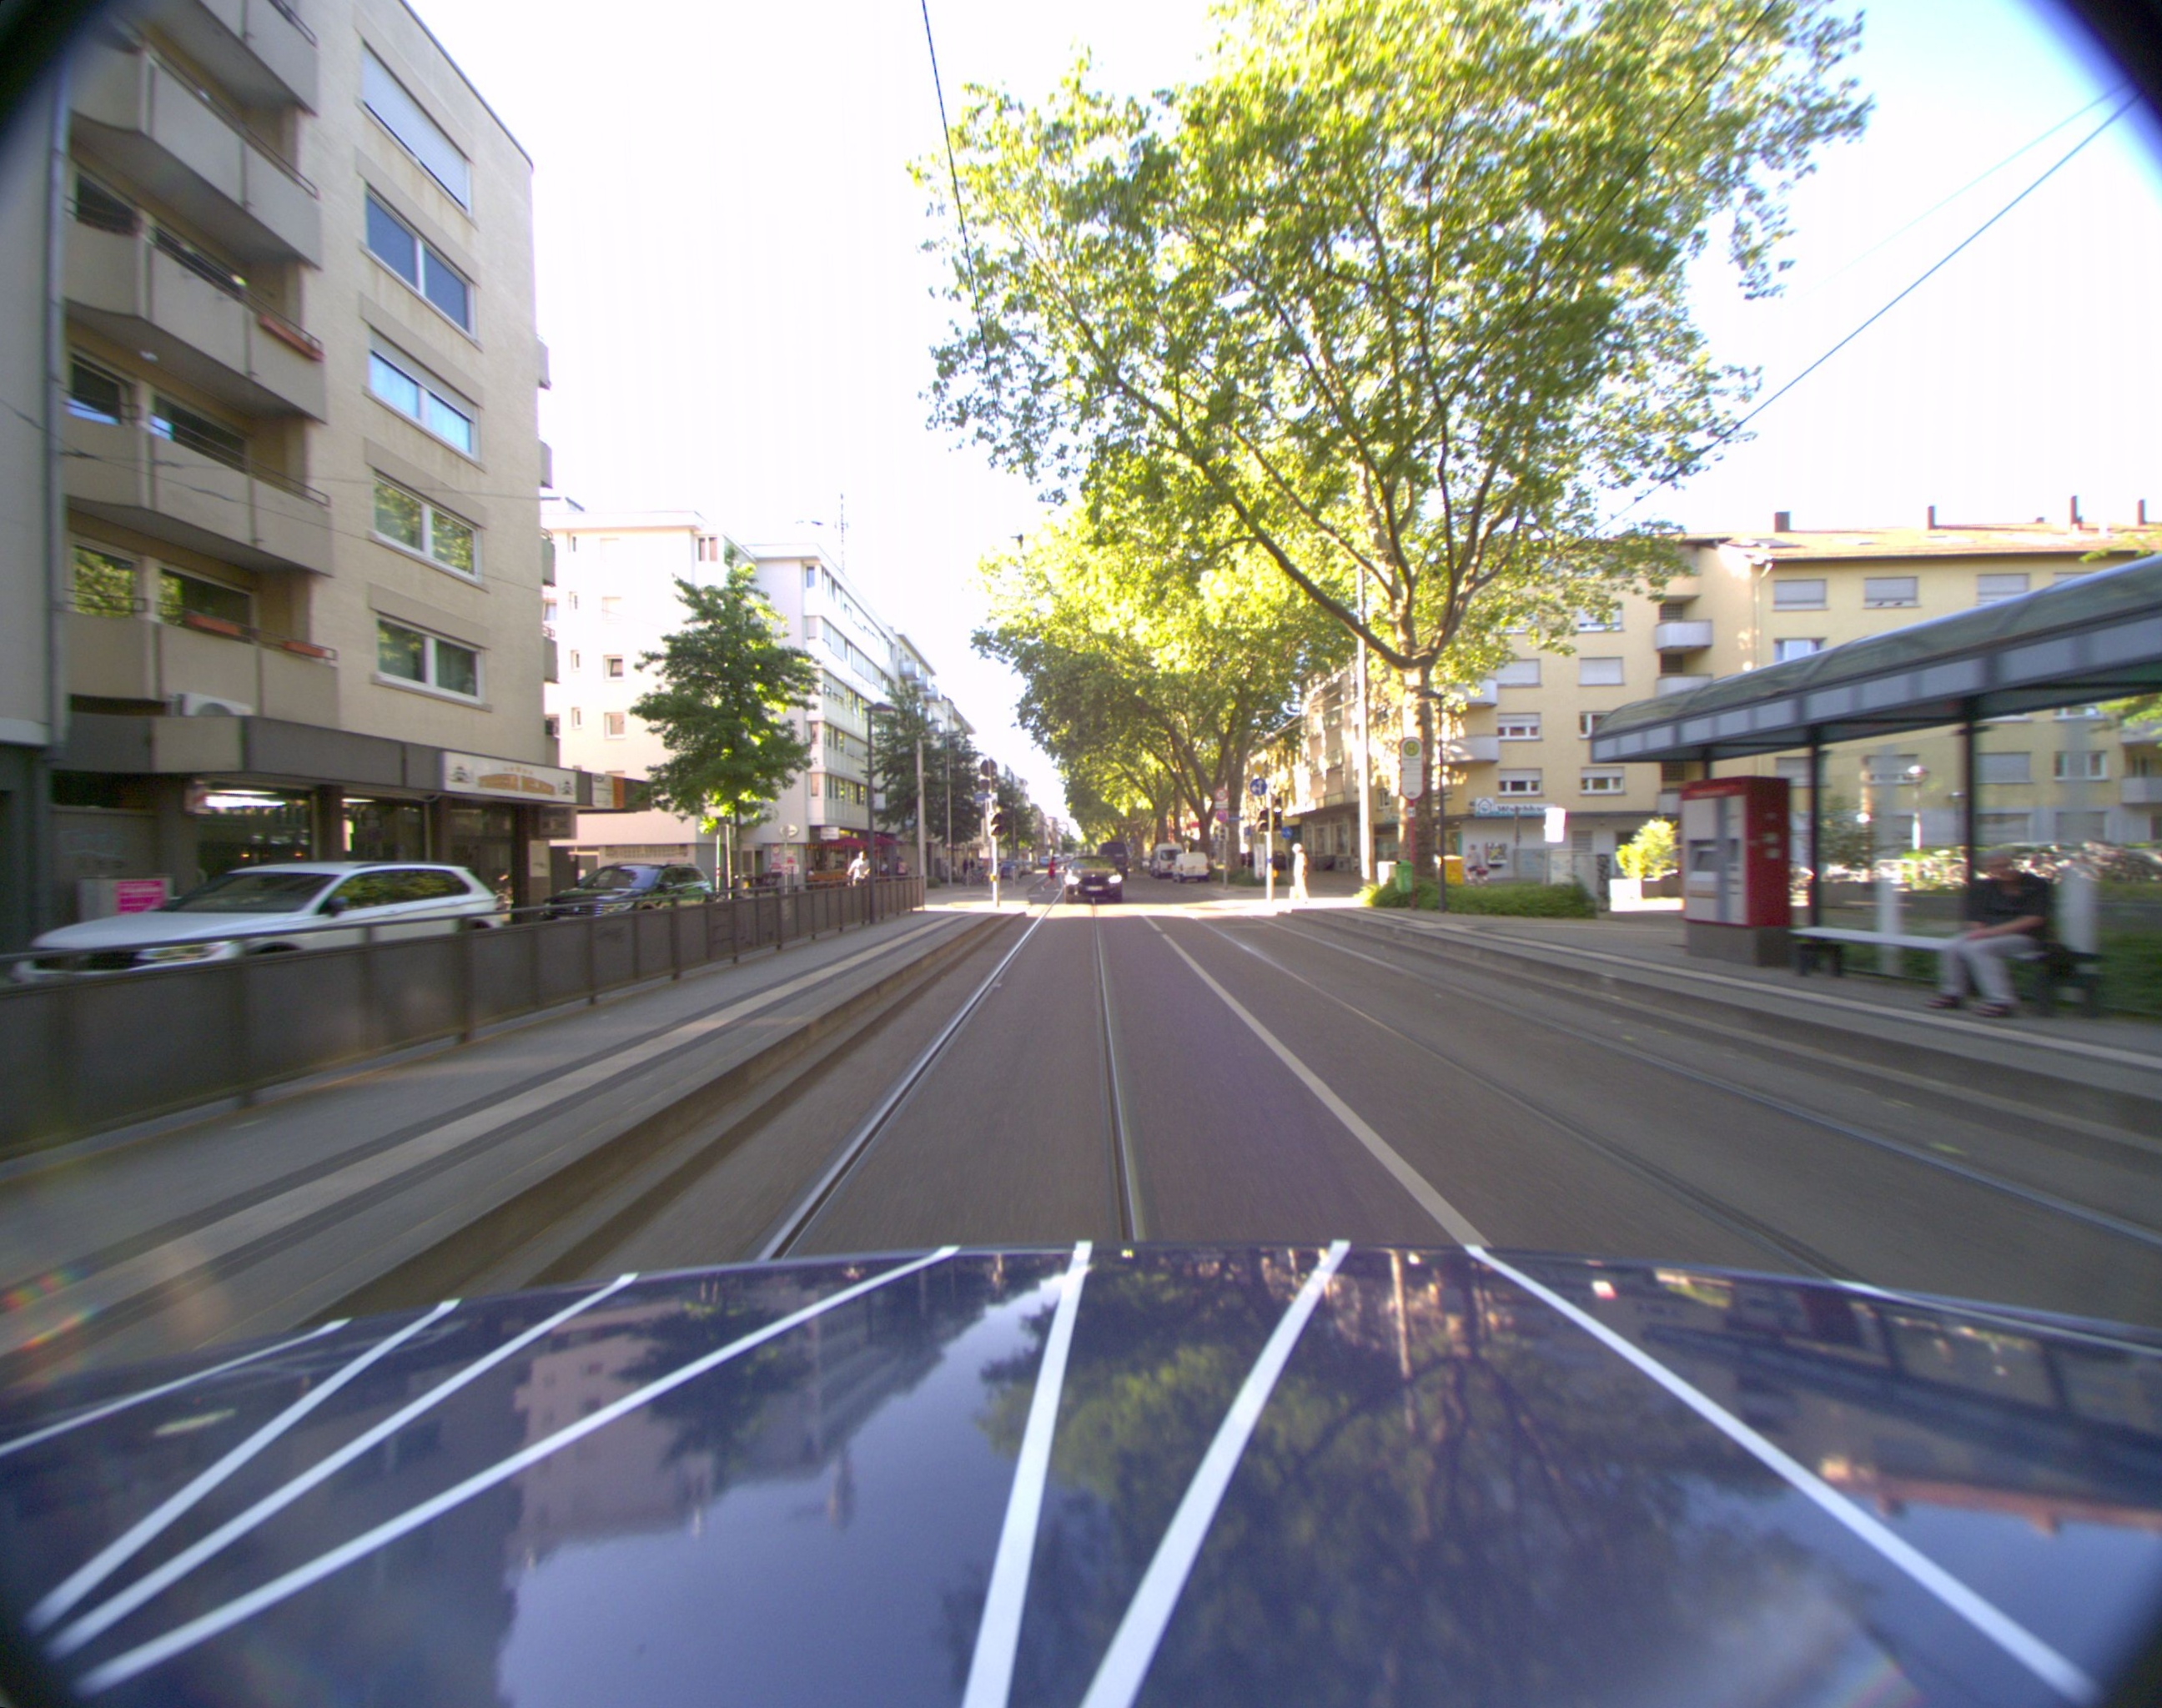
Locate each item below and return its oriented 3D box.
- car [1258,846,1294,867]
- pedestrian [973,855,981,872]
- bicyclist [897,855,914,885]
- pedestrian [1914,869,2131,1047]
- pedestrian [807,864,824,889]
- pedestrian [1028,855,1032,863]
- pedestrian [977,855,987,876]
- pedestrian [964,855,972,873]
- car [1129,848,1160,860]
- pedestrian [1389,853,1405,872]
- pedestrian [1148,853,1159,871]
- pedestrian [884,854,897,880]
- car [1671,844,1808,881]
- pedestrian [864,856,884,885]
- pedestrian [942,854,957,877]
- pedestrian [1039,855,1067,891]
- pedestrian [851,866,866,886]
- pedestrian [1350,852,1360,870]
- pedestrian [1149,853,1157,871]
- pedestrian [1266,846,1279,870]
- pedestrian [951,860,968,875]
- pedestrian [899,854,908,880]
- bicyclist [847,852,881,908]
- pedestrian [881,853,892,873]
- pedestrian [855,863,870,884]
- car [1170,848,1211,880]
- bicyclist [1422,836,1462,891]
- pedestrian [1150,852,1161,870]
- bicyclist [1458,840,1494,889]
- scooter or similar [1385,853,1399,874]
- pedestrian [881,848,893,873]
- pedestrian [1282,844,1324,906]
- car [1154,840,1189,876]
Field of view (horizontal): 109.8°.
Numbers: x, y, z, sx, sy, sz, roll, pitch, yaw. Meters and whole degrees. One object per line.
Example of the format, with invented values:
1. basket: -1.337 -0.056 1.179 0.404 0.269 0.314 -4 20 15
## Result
1. car: 17.357 0.174 67.909 1.998 1.723 4.897 -2 1 1
2. pedestrian: -10.126 0.952 73.923 0.643 1.628 0.869 1 0 -1
3. bicyclist: -10.274 0.906 44.549 0.678 1.707 0.965 -2 1 3
4. pedestrian: 6.608 0.694 5.372 0.707 1.162 0.659 0 1 -2
5. pedestrian: -13.718 1.153 39.278 0.536 1.280 0.715 -2 1 2
6. pedestrian: -9.893 0.967 147.534 0.697 1.685 0.678 -2 1 0
7. pedestrian: -8.817 0.982 67.568 0.538 1.841 0.665 -1 1 21
8. pedestrian: -10.981 0.947 73.888 0.597 1.668 0.934 1 1 -2
9. car: 11.156 -0.045 133.109 5.134 1.984 1.999 -2 1 -4
10. pedestrian: 17.724 0.489 42.626 0.580 1.041 0.711 -2 1 -1
11. pedestrian: 6.994 0.743 73.563 0.768 1.725 0.715 -1 1 42
12. pedestrian: -13.117 0.903 52.406 0.525 1.795 0.633 -1 1 44
13. car: 27.360 0.320 31.666 3.997 1.368 2.000 -2 1 0
14. pedestrian: -12.068 0.942 44.331 0.813 1.649 0.680 -2 1 16
15. pedestrian: -10.337 0.936 59.700 0.992 1.774 0.593 -1 1 42
16. pedestrian: -1.403 0.945 38.008 1.049 1.748 0.876 -2 1 -26
17. pedestrian: -12.363 1.200 42.269 0.643 1.072 0.522 -2 1 -1
18. pedestrian: 17.960 0.456 49.736 0.421 1.099 0.437 -2 1 -9
19. pedestrian: 6.881 0.764 72.593 0.770 1.767 0.714 -2 1 7
20. pedestrian: 15.216 0.288 60.293 0.746 1.859 0.863 -2 1 -2
21. pedestrian: -8.755 0.951 54.740 1.001 1.021 0.661 -2 1 2
22. pedestrian: -12.506 0.921 53.469 0.432 1.786 0.489 -2 1 -1
23. bicyclist: -7.319 0.872 25.661 0.769 1.821 1.099 -2 1 1
24. pedestrian: -12.916 0.601 50.441 0.510 1.269 0.624 -3 1 -37
25. pedestrian: -12.488 1.130 43.472 0.660 1.168 0.522 -2 1 -1
26. car: 6.724 0.558 46.894 1.768 1.840 4.317 -2 1 -1
27. bicyclist: 11.832 0.297 24.918 0.776 1.740 0.997 -2 1 -1
28. pedestrian: 7.237 0.674 74.082 0.768 1.725 0.718 -1 1 42
29. bicyclist: 14.569 0.369 28.035 0.776 1.740 0.997 -2 1 -2
30. scooter or similar: 17.527 0.537 42.870 0.642 1.160 0.676 -1 1 27
31. pedestrian: -12.862 0.442 50.370 0.508 1.619 0.517 -3 1 -37
32. pedestrian: 6.724 0.620 23.054 0.926 1.825 0.920 -2 1 -3
33. car: 6.801 0.241 57.796 2.113 2.562 6.024 -2 1 3
